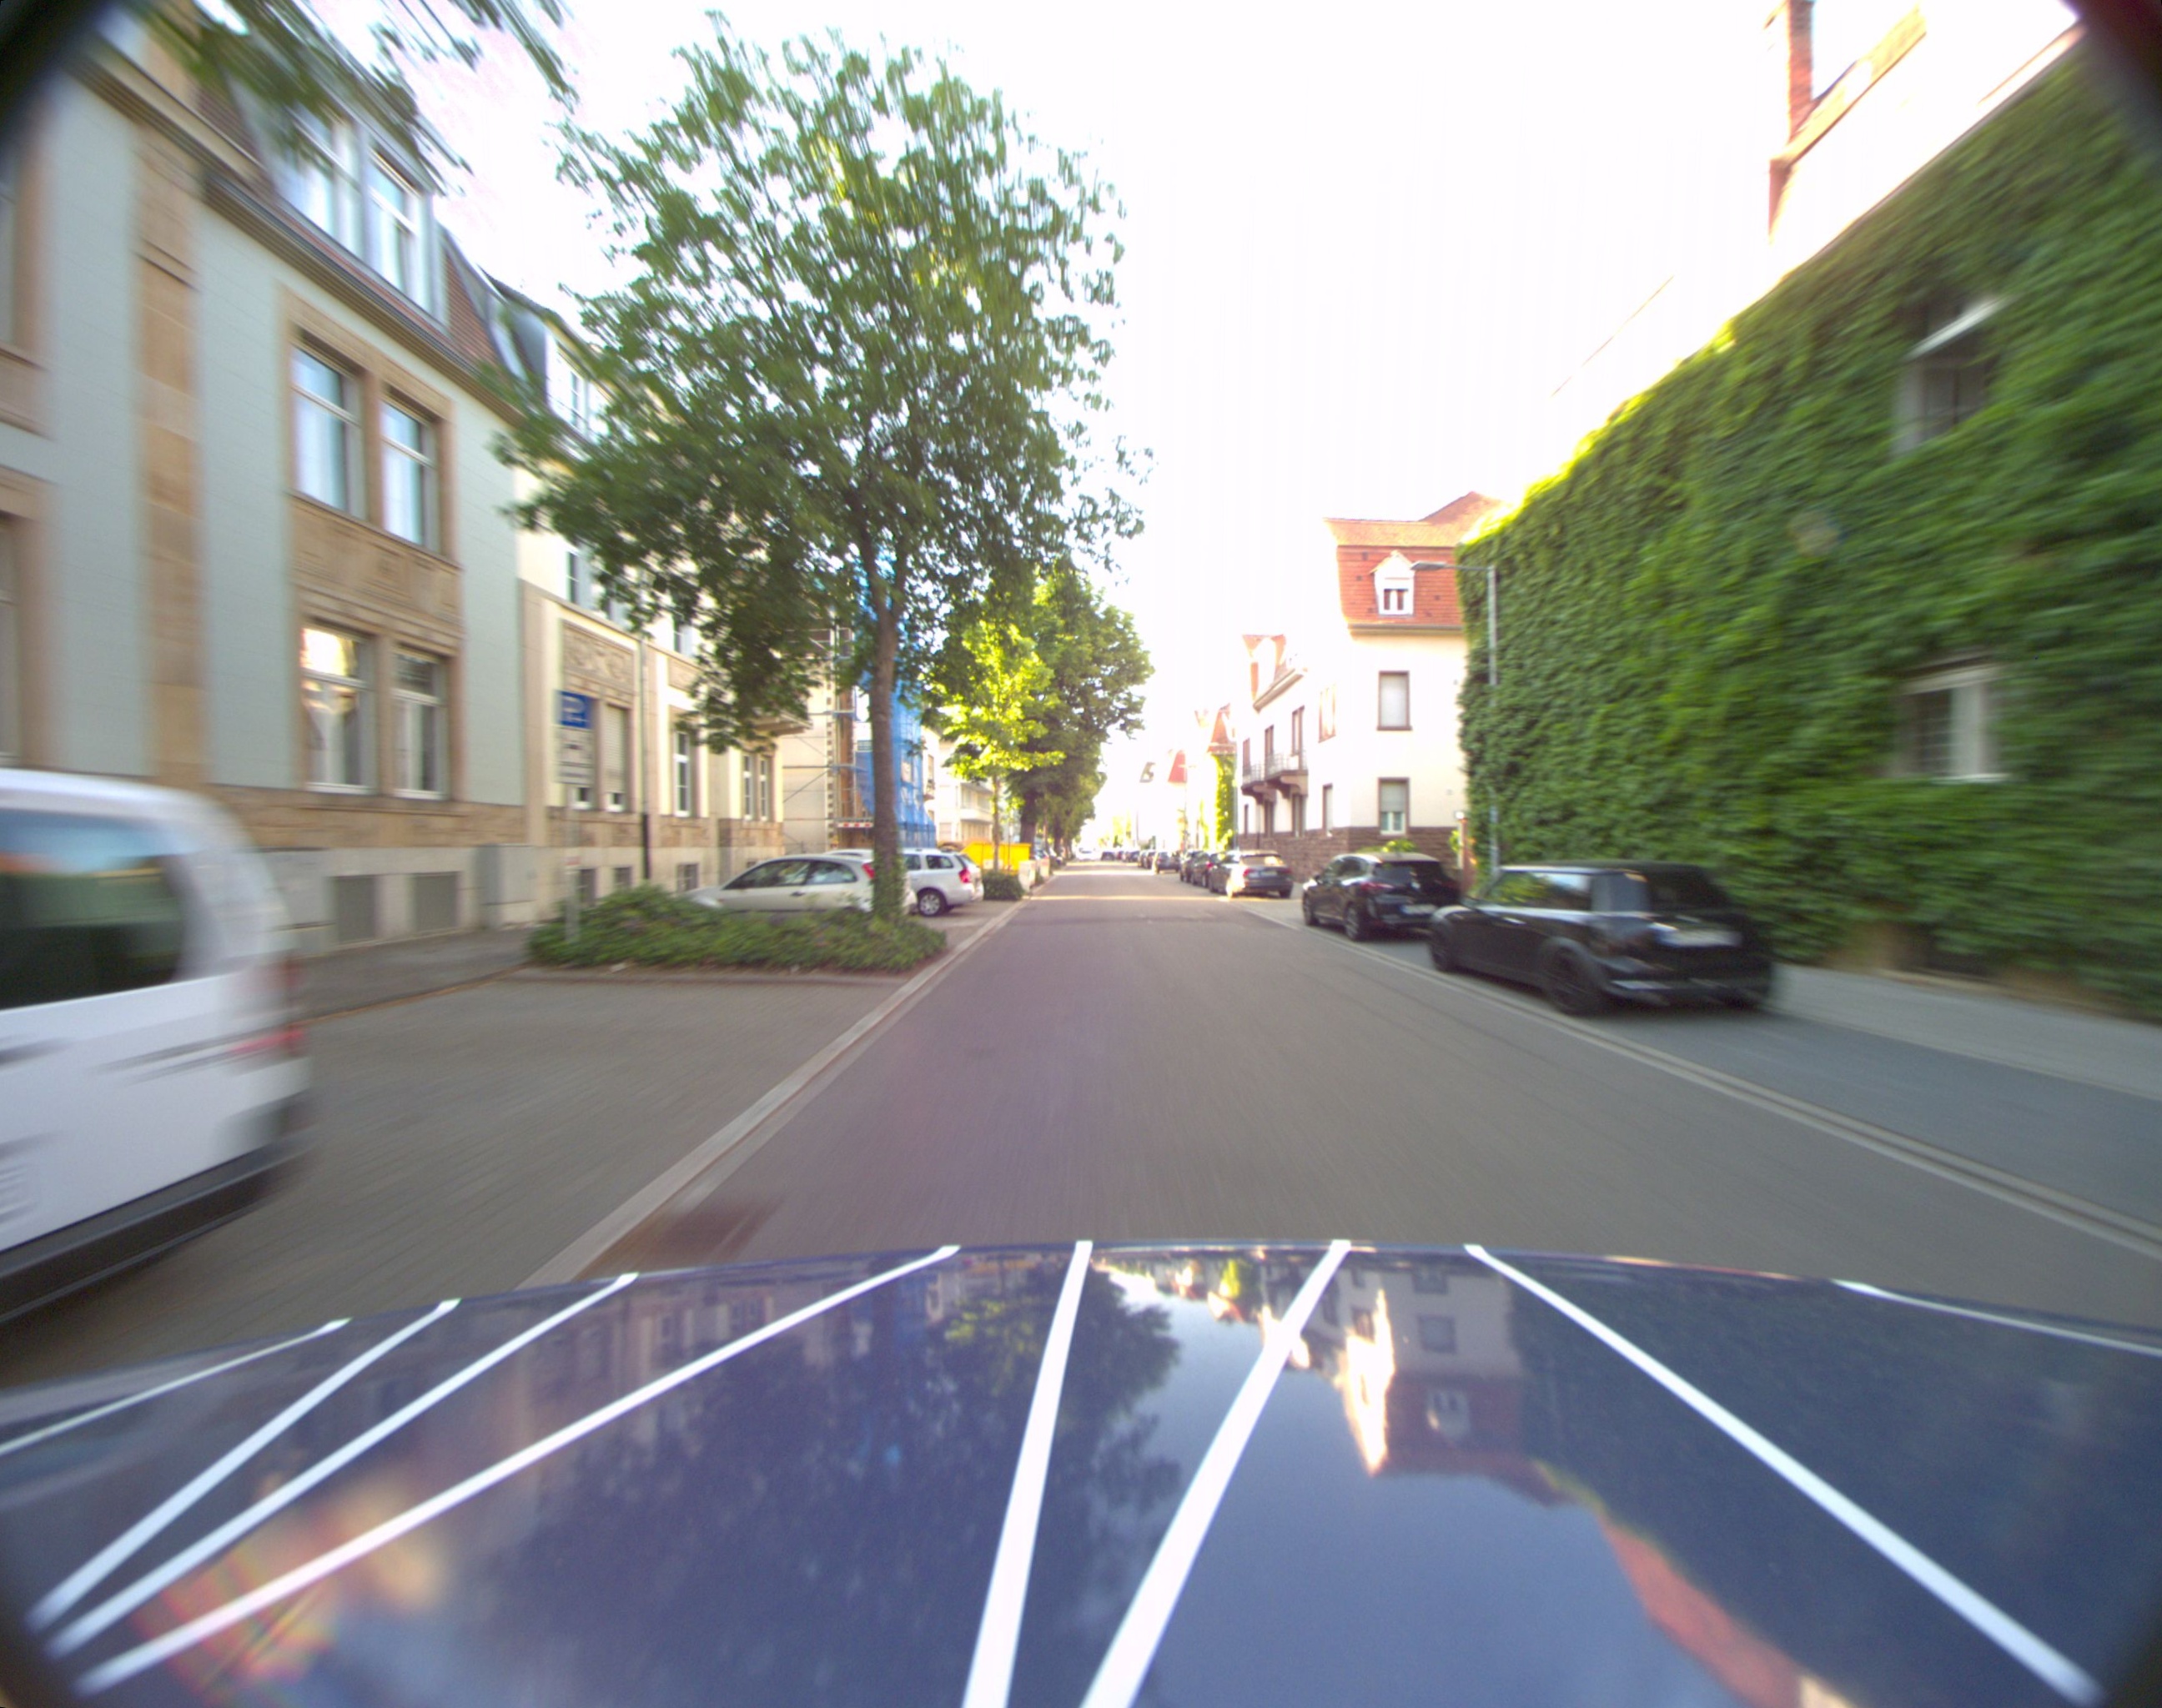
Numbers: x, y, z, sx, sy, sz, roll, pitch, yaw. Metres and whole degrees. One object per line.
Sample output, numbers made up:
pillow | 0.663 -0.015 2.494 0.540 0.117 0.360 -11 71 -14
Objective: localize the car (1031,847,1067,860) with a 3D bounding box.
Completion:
car | -3.919 -0.034 92.328 4.313 1.532 1.758 0 1 -2

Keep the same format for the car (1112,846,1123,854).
car | 6.478 -0.710 135.520 1.723 1.386 3.907 -2 0 2

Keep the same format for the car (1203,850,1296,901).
car | 5.314 0.614 24.635 1.797 1.453 4.776 -1 1 -2

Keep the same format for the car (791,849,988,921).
car | -4.396 0.687 17.856 4.154 1.526 1.687 1 1 2

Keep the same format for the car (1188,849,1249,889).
car | 5.457 0.553 30.581 1.658 1.438 3.843 -2 1 -2

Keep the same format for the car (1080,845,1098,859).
car | 1.010 -0.243 94.420 2.098 1.701 4.606 -1 1 1

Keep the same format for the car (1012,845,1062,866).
car | -3.755 0.130 64.822 4.188 1.714 1.764 0 2 -7

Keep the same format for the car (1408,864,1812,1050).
car | 5.087 0.861 8.016 1.690 1.372 3.720 -2 1 1

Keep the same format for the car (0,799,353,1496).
car | -4.934 0.721 1.886 4.325 1.797 2.000 1 1 0

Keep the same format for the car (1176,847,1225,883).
car | 5.443 0.466 34.933 1.657 1.477 3.764 -2 1 1

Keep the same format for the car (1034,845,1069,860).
car | -3.655 -0.234 94.602 4.313 1.874 1.758 0 2 -2

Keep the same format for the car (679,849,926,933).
car | -5.523 0.699 15.453 4.325 1.526 1.828 1 1 0

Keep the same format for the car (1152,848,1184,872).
car | 5.556 0.337 48.828 1.657 1.438 4.004 -2 1 1

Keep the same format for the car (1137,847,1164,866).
car | 5.787 0.176 64.071 1.714 1.461 4.632 -2 1 -1

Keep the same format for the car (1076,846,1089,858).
car | 0.268 -0.387 122.310 1.999 1.874 3.999 -1 1 0

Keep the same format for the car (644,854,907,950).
car | -5.064 0.763 12.963 3.757 1.454 1.734 1 1 0

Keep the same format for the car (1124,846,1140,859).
car | 6.161 -0.169 92.612 1.585 1.512 3.705 -2 1 -1

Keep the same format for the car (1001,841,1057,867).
car | -4.233 -0.027 62.181 4.481 2.002 1.895 -1 1 -1

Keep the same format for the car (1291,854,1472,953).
car | 5.163 0.764 13.670 1.653 1.412 4.098 -2 1 1

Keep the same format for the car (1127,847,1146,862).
car | 6.002 0.019 82.461 1.657 1.446 4.630 -2 1 1

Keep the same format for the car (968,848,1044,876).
car | -4.175 0.434 42.795 3.996 1.483 1.851 1 1 2

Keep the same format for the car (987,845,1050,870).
car | -4.396 0.226 53.982 4.343 1.673 1.705 1 0 -2

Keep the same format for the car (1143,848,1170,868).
car | 5.823 0.275 58.857 1.658 1.407 4.167 -2 1 0

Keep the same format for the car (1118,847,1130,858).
car | 6.079 -0.235 107.210 1.654 1.474 3.429 -2 1 2

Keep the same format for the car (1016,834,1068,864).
car | -3.815 -0.529 75.285 5.109 2.885 2.075 0 1 -2

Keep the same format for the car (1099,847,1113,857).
car | 3.388 -0.283 102.886 1.776 1.440 4.000 0 0 0
